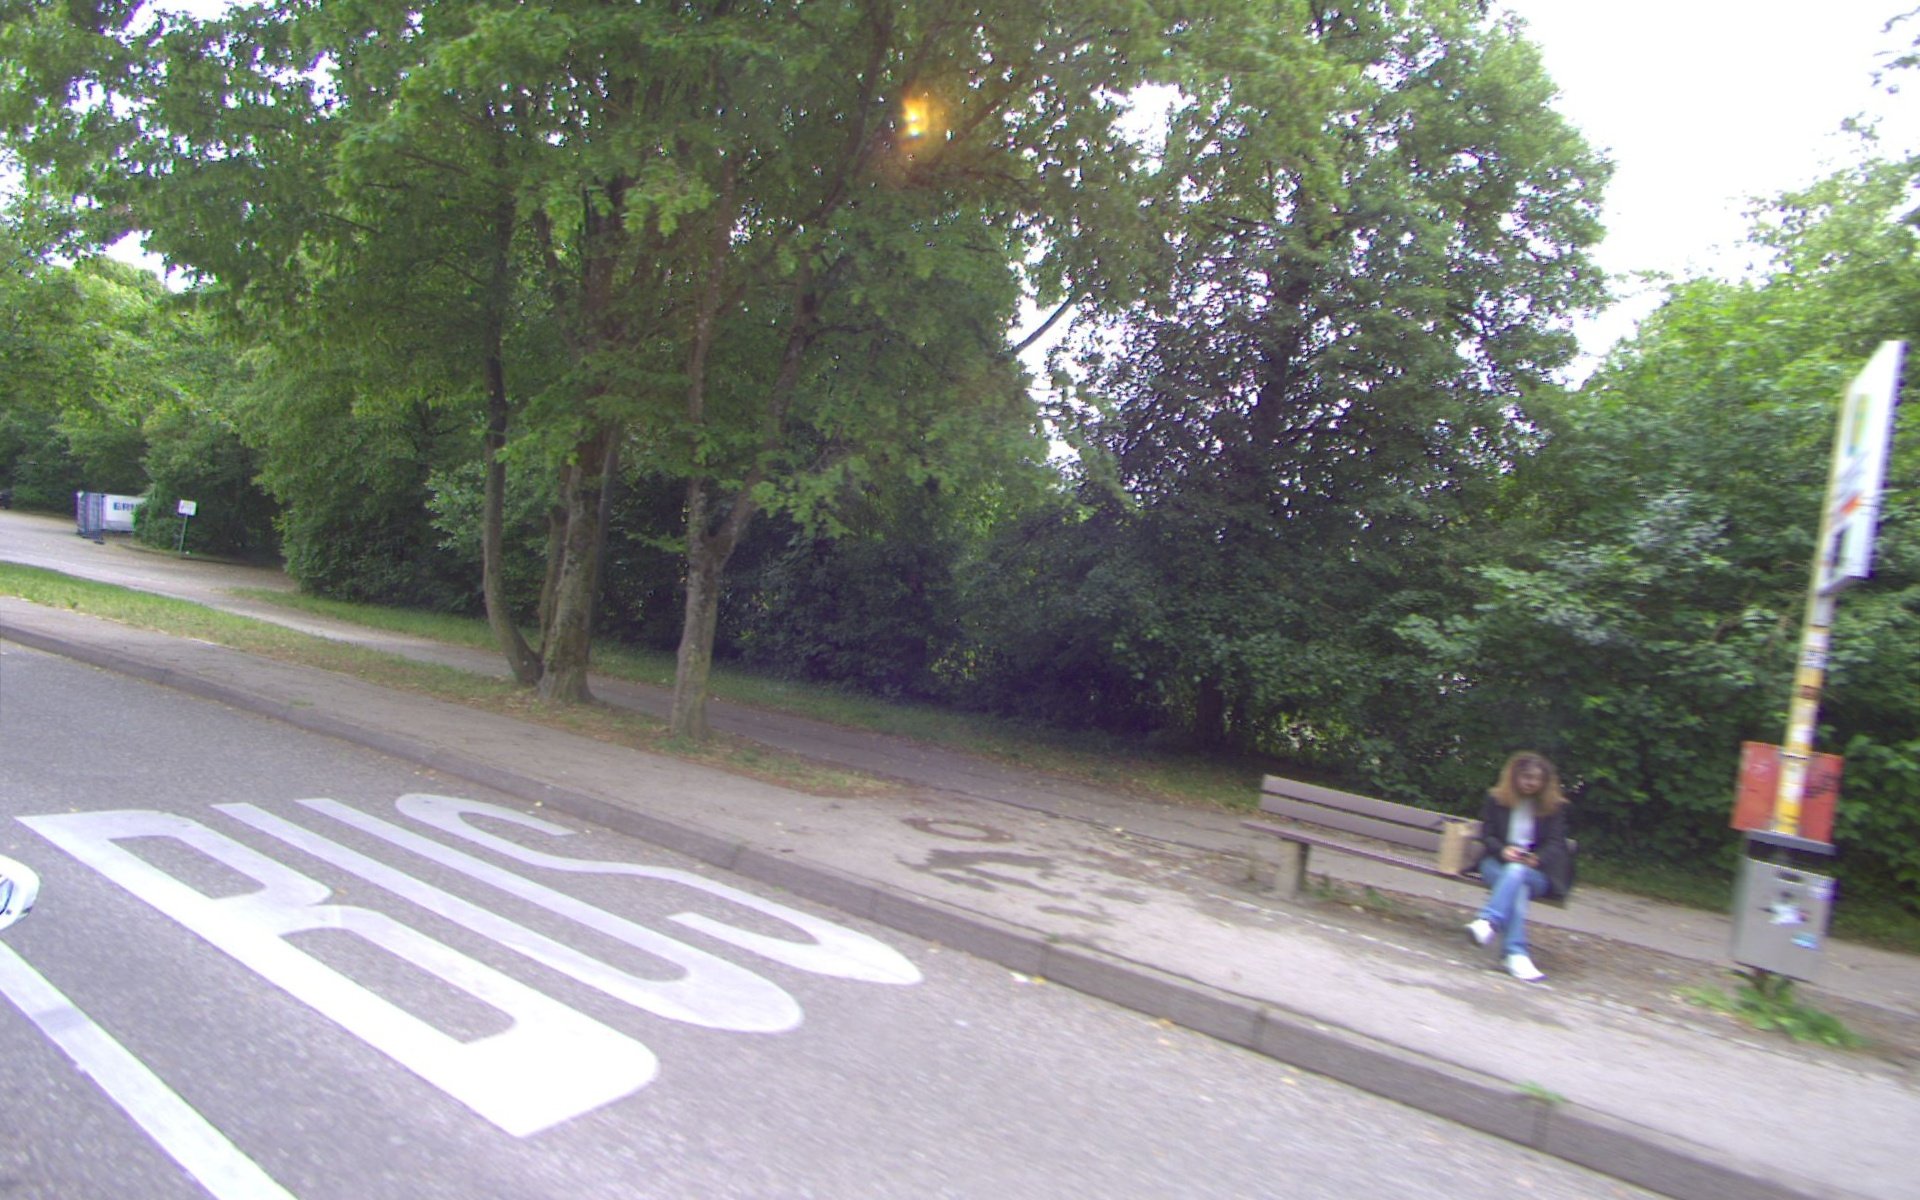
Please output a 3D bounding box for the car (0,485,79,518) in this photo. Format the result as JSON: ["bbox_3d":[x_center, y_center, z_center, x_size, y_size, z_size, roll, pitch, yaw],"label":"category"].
[{"bbox_3d":[-61.693,-6.574,67.082,1.768,1.425,4.000,8,-2,26],"label":"car"}]

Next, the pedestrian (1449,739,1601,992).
[{"bbox_3d":[3.236,1.452,5.794,0.570,1.196,1.066,7,-2,29],"label":"pedestrian"}]
